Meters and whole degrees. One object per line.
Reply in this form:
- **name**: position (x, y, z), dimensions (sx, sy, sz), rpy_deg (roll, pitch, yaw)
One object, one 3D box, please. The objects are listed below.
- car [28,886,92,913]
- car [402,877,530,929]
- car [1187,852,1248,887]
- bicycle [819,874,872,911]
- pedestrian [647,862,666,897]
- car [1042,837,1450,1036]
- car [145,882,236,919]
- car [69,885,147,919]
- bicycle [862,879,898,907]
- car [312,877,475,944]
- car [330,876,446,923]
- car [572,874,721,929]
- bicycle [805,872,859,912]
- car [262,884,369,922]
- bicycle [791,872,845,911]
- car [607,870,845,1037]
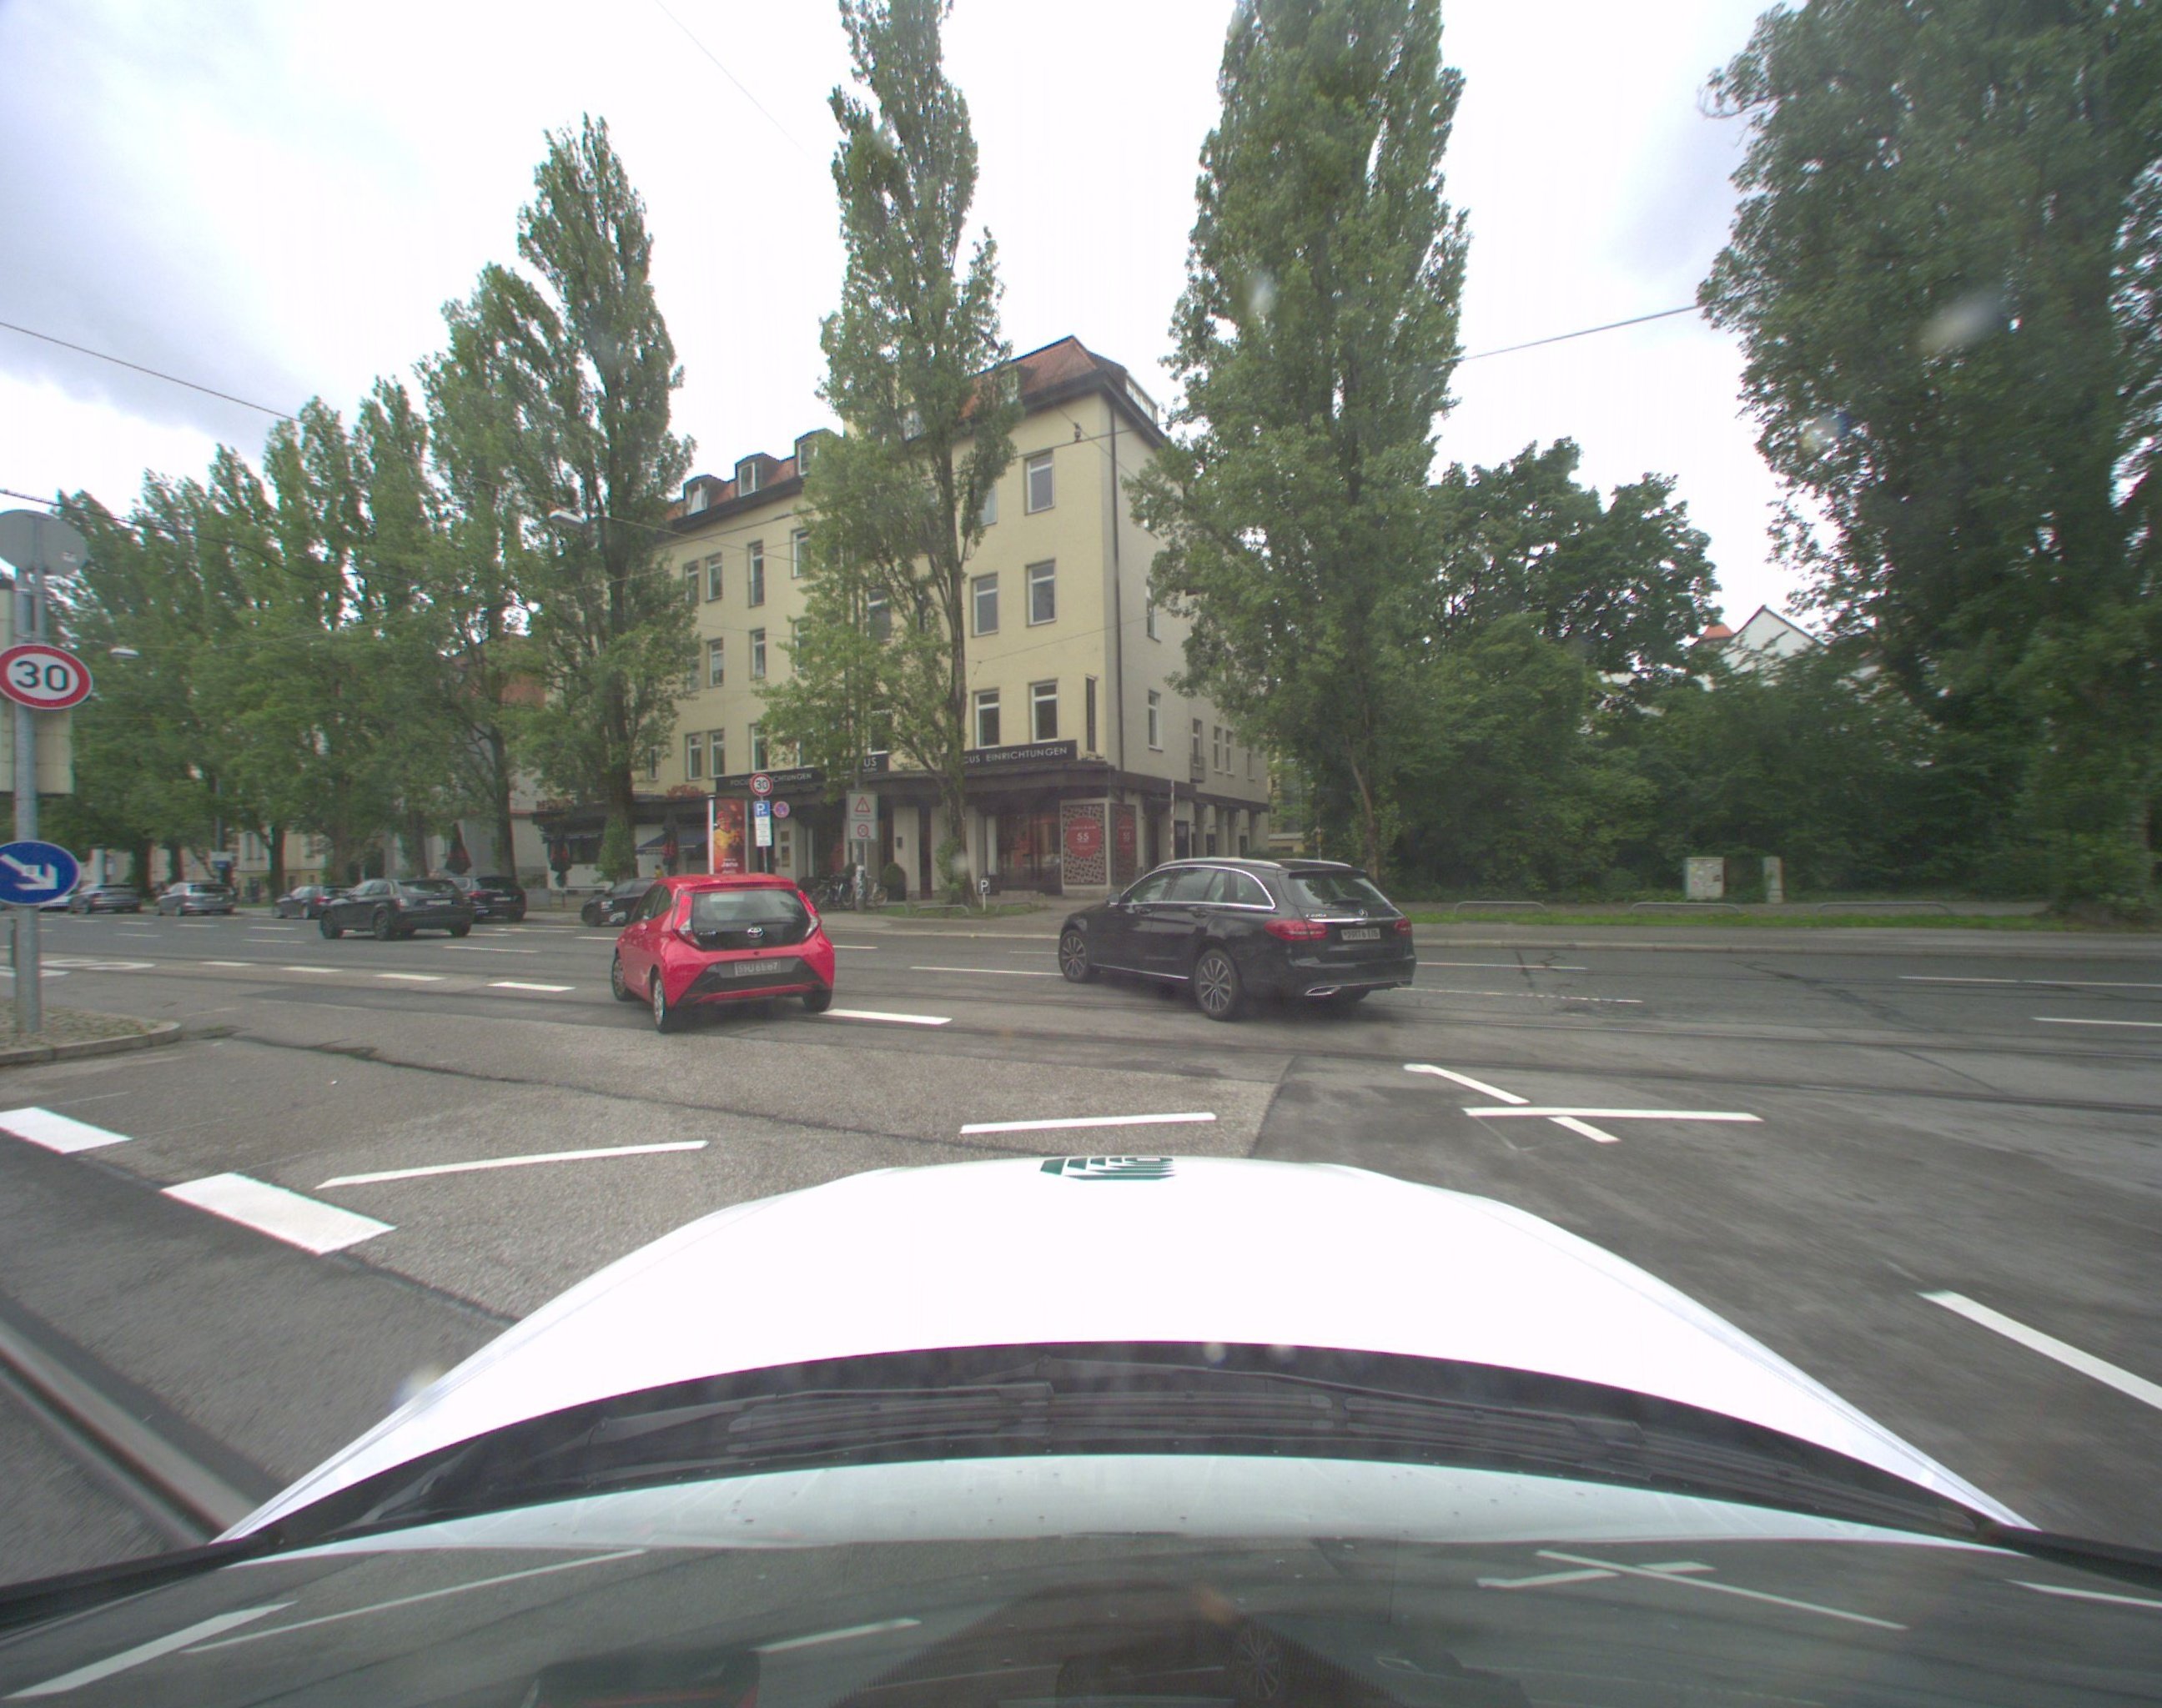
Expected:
- **car**: position (-63.043, 2.786, 50.280), dimensions (3.949, 1.508, 1.816), rpy_deg (-2, -1, 29)
- **car**: position (-21.216, 1.673, 28.053), dimensions (4.414, 1.612, 1.737), rpy_deg (-2, 0, 27)
- **car**: position (6.223, 0.681, 36.780), dimensions (1.710, 1.442, 4.023), rpy_deg (-2, 0, 25)
- **bicycle**: position (-7.523, 1.230, 26.110), dimensions (0.490, 1.082, 1.900), rpy_deg (-2, 0, 25)
- **pedestrian**: position (-19.467, 1.158, 37.363), dimensions (0.489, 1.562, 0.578), rpy_deg (0, 0, 29)
- **car**: position (1.402, 0.644, 8.929), dimensions (1.874, 1.549, 4.662), rpy_deg (-1, 1, -27)
- **car**: position (-42.847, 2.231, 39.185), dimensions (4.489, 1.612, 1.816), rpy_deg (-2, 0, 27)
- **car**: position (-54.240, 2.661, 45.387), dimensions (4.641, 1.742, 1.816), rpy_deg (-2, 0, 27)
- **bicycle**: position (-6.827, 1.313, 27.712), dimensions (0.384, 0.883, 1.379), rpy_deg (-2, 0, 25)
- **car**: position (-17.247, 1.367, 20.407), dimensions (3.949, 1.486, 1.798), rpy_deg (-2, -1, 29)
- **car**: position (-26.006, 1.679, 30.538), dimensions (4.251, 1.612, 1.816), rpy_deg (-2, 0, 27)
- **car**: position (-12.818, 1.386, 24.025), dimensions (3.951, 1.466, 1.815), rpy_deg (-2, -1, 24)
- **bicycle**: position (-8.008, 1.219, 26.307), dimensions (0.490, 1.185, 1.900), rpy_deg (-2, 0, 25)
- **car**: position (-31.249, 1.968, 33.214), dimensions (4.326, 1.398, 1.816), rpy_deg (-2, 0, 27)
- **bicycle**: position (-8.586, 1.215, 26.699), dimensions (0.490, 1.185, 1.900), rpy_deg (-2, 0, 25)
- **car**: position (-4.016, 0.921, 8.935), dimensions (1.641, 1.440, 3.338), rpy_deg (0, -2, -37)
